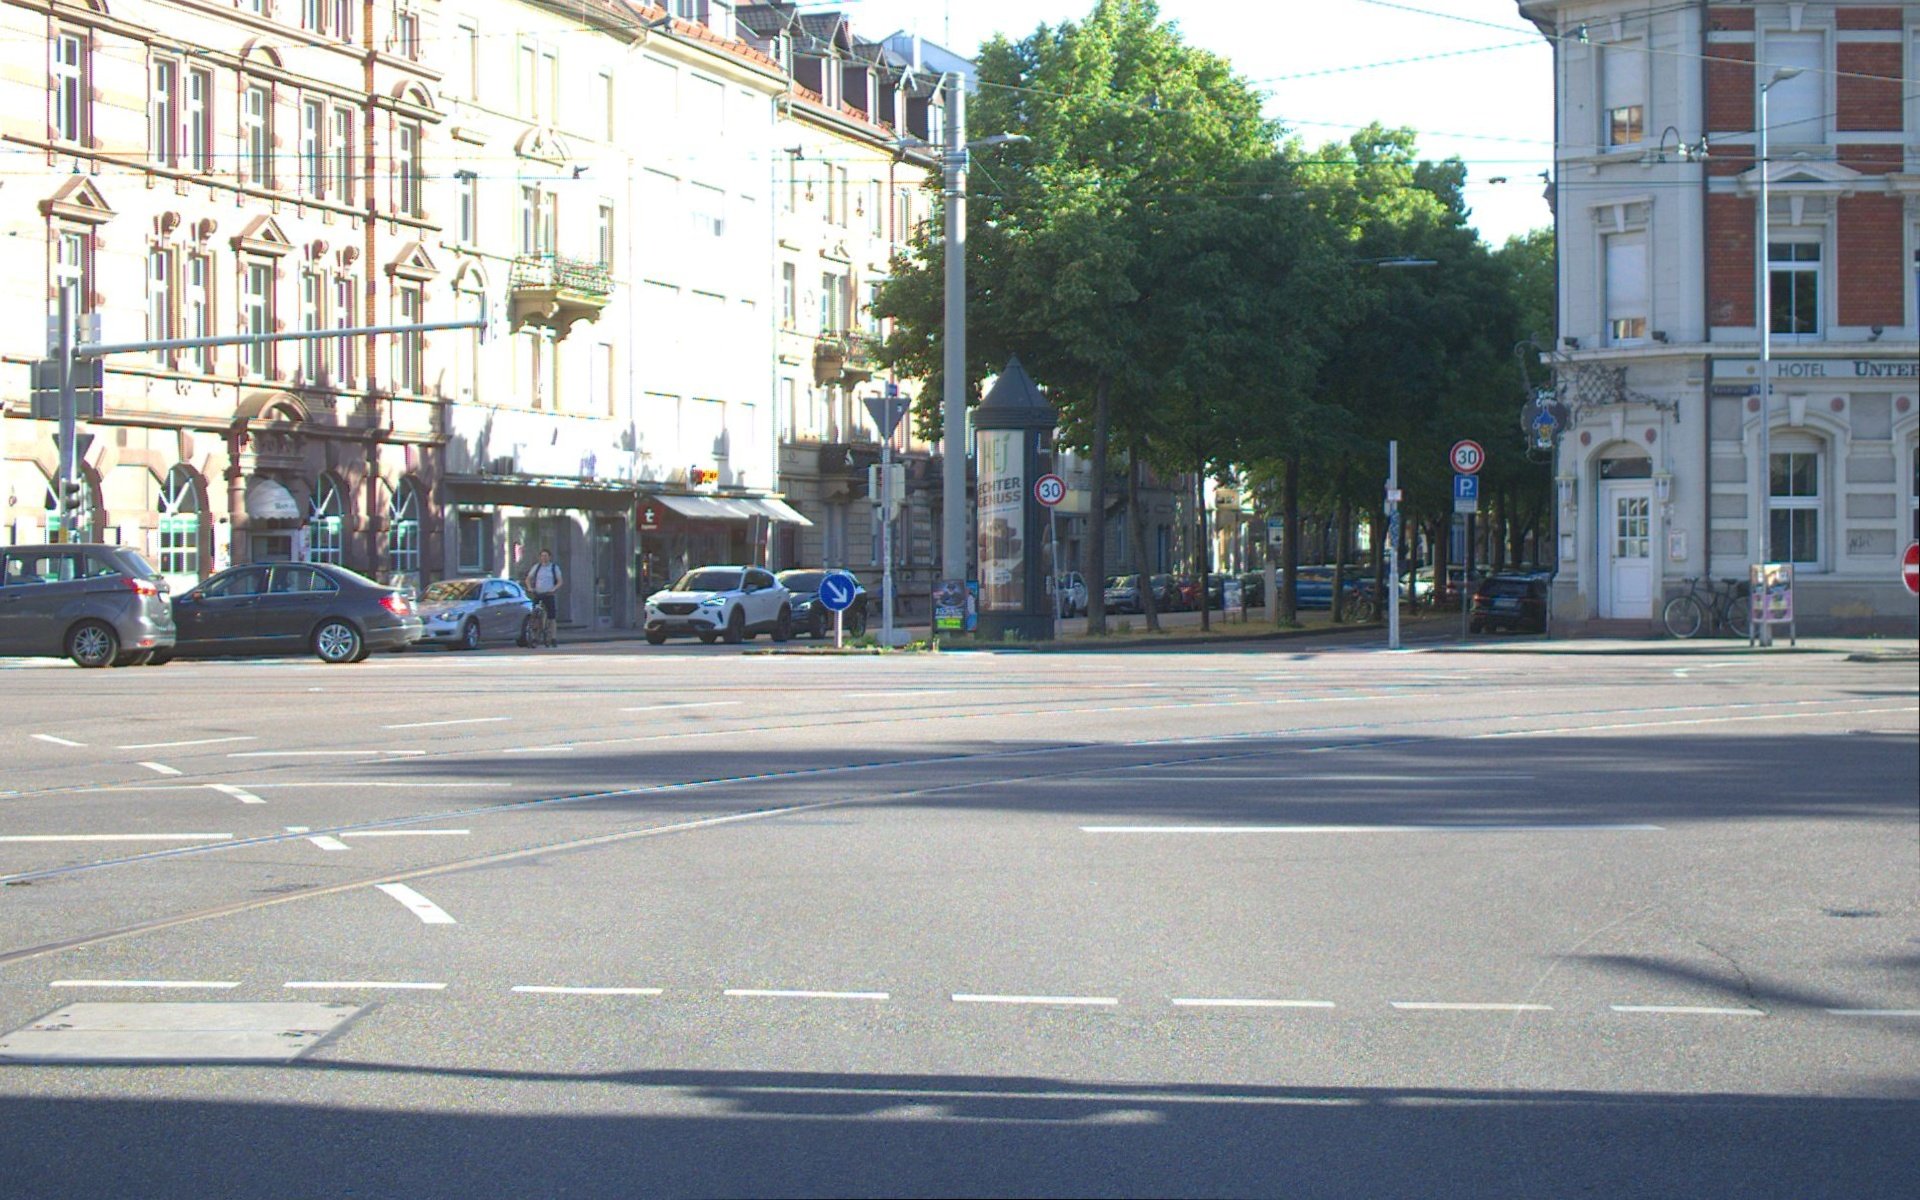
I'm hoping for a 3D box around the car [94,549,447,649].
[{"bbox_3d":[-9.485,-0.032,47.566,4.509,1.336,2.000,0,1,-2],"label":"car"}]

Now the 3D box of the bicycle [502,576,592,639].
[{"bbox_3d":[-7.864,0.127,65.631,0.751,1.131,2.808,0,1,14],"label":"bicycle"}]

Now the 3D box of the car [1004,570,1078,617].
[{"bbox_3d":[2.600,-0.216,110.003,1.741,1.393,4.122,3,1,9],"label":"car"}]

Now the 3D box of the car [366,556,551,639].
[{"bbox_3d":[-9.774,-0.071,67.382,2.098,1.540,4.361,0,1,14],"label":"car"}]

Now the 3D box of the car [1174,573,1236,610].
[{"bbox_3d":[9.730,-0.348,136.388,1.742,1.393,4.121,3,1,13],"label":"car"}]

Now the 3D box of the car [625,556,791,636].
[{"bbox_3d":[-4.875,-0.103,67.167,2.098,1.494,3.998,0,1,14],"label":"car"}]

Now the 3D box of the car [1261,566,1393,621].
[{"bbox_3d":[12.295,-0.226,115.227,4.113,1.640,1.745,3,1,15],"label":"car"}]

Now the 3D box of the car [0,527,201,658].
[{"bbox_3d":[-12.409,-0.114,44.987,4.510,1.666,2.000,0,1,-1],"label":"car"}]

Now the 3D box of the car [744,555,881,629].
[{"bbox_3d":[-3.126,-0.190,73.535,1.994,1.508,3.998,0,1,12],"label":"car"}]

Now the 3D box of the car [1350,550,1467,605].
[{"bbox_3d":[17.413,-0.876,133.426,4.115,1.912,1.744,3,1,21],"label":"car"}]

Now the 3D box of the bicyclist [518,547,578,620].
[{"bbox_3d":[-7.850,-0.315,65.593,0.794,1.370,1.107,0,1,14],"label":"bicyclist"}]

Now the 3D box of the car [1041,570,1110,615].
[{"bbox_3d":[3.924,-0.256,115.808,1.741,1.393,4.122,3,1,9],"label":"car"}]

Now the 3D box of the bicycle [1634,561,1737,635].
[{"bbox_3d":[12.065,-0.033,57.136,1.639,1.218,0.606,0,1,16],"label":"bicycle"}]

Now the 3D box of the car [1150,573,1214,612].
[{"bbox_3d":[8.512,-0.313,131.609,1.742,1.393,4.121,3,1,13],"label":"car"}]

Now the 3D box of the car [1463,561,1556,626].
[{"bbox_3d":[13.171,-0.156,82.288,1.652,1.519,3.750,0,0,17],"label":"car"}]

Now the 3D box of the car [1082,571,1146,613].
[{"bbox_3d":[5.511,-0.303,122.785,1.741,1.393,4.122,3,1,9],"label":"car"}]
